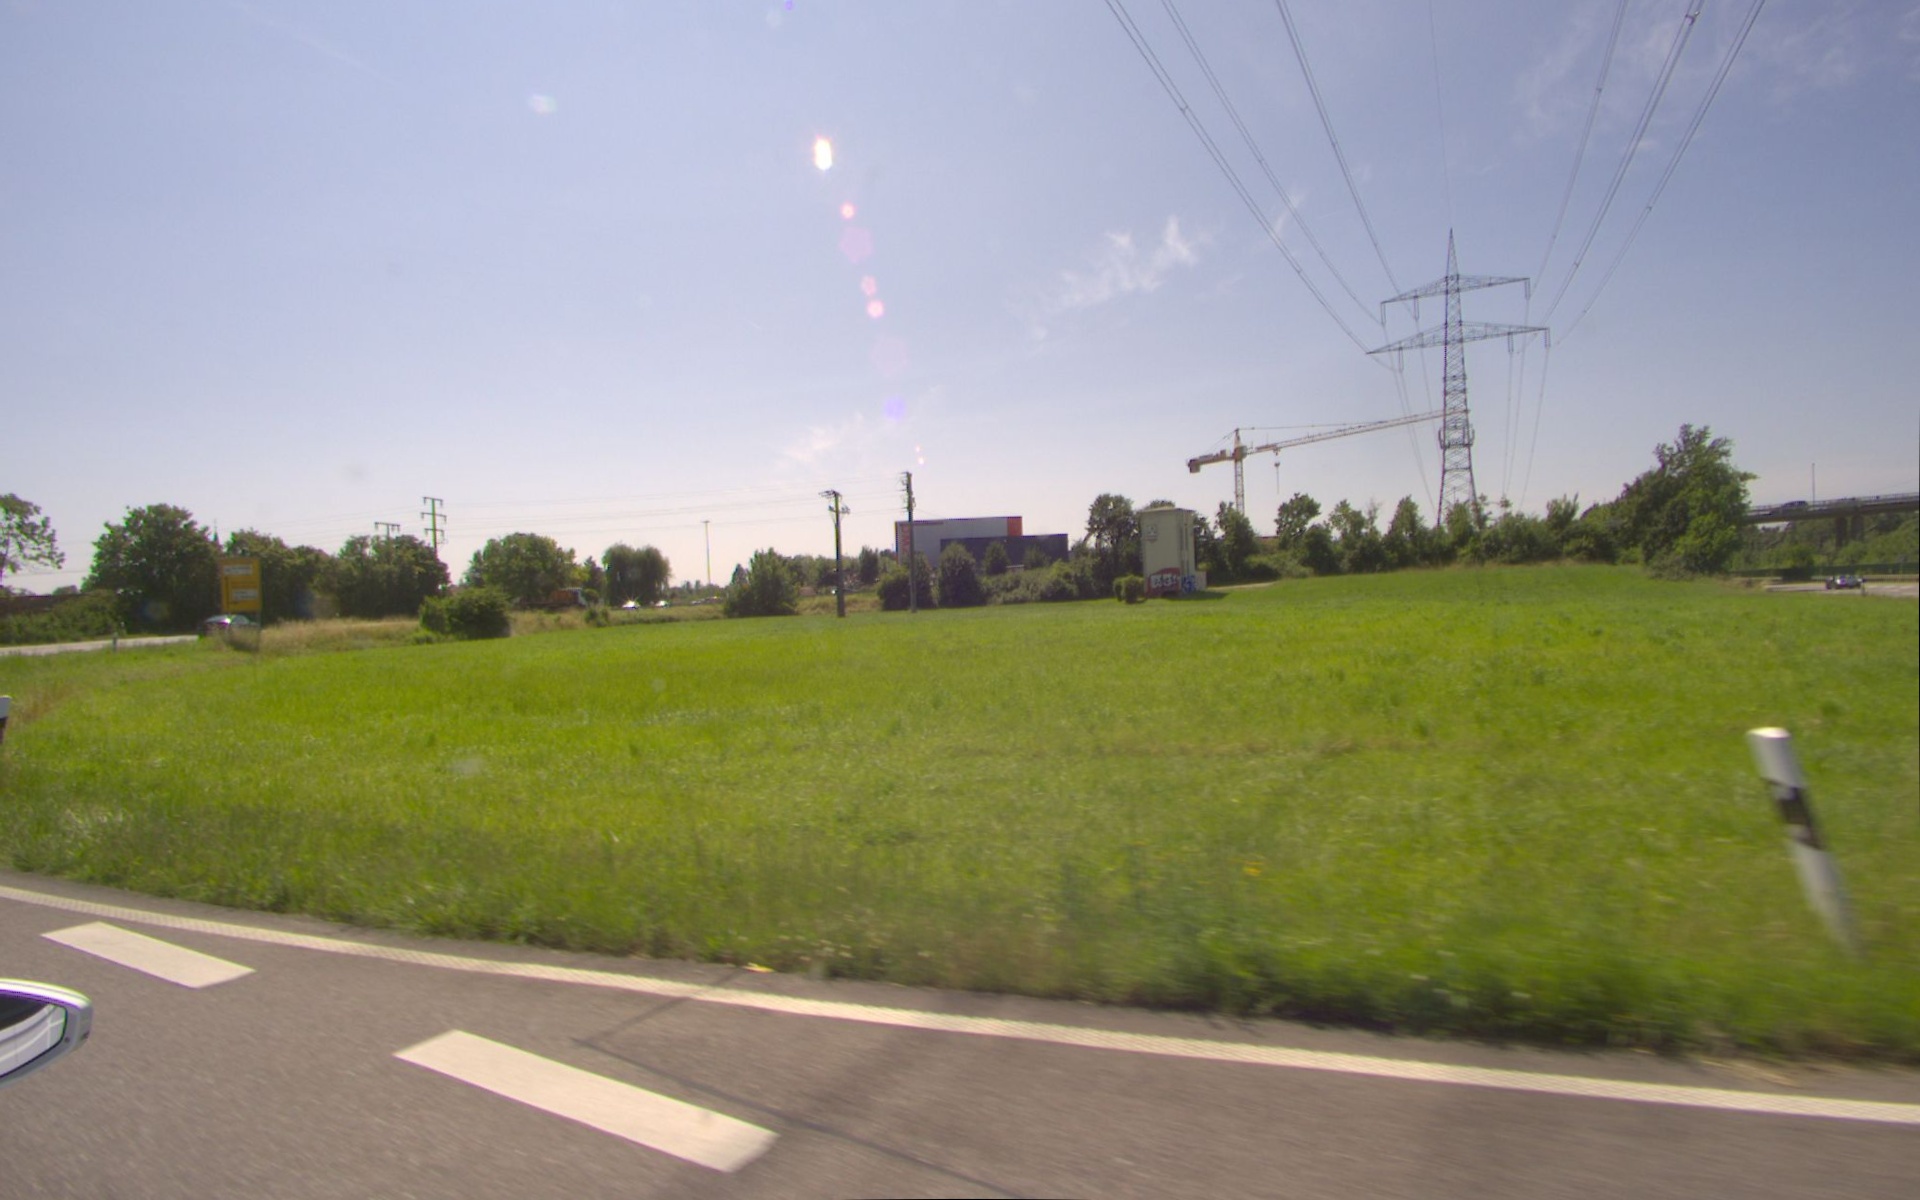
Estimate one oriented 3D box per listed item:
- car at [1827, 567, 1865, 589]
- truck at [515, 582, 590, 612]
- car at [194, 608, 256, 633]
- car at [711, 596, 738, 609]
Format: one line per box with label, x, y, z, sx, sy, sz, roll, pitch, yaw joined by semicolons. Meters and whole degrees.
car;76.435;-1.912;86.428;1.699;1.747;3.980;-1;1;30
truck;-46.191;-0.300;113.811;3.053;3.177;8.791;-1;-1;17
car;-44.987;1.229;61.368;1.693;1.439;3.740;-2;0;-14
car;-37.904;0.462;161.111;3.922;2.040;2.000;-1;-1;-1
